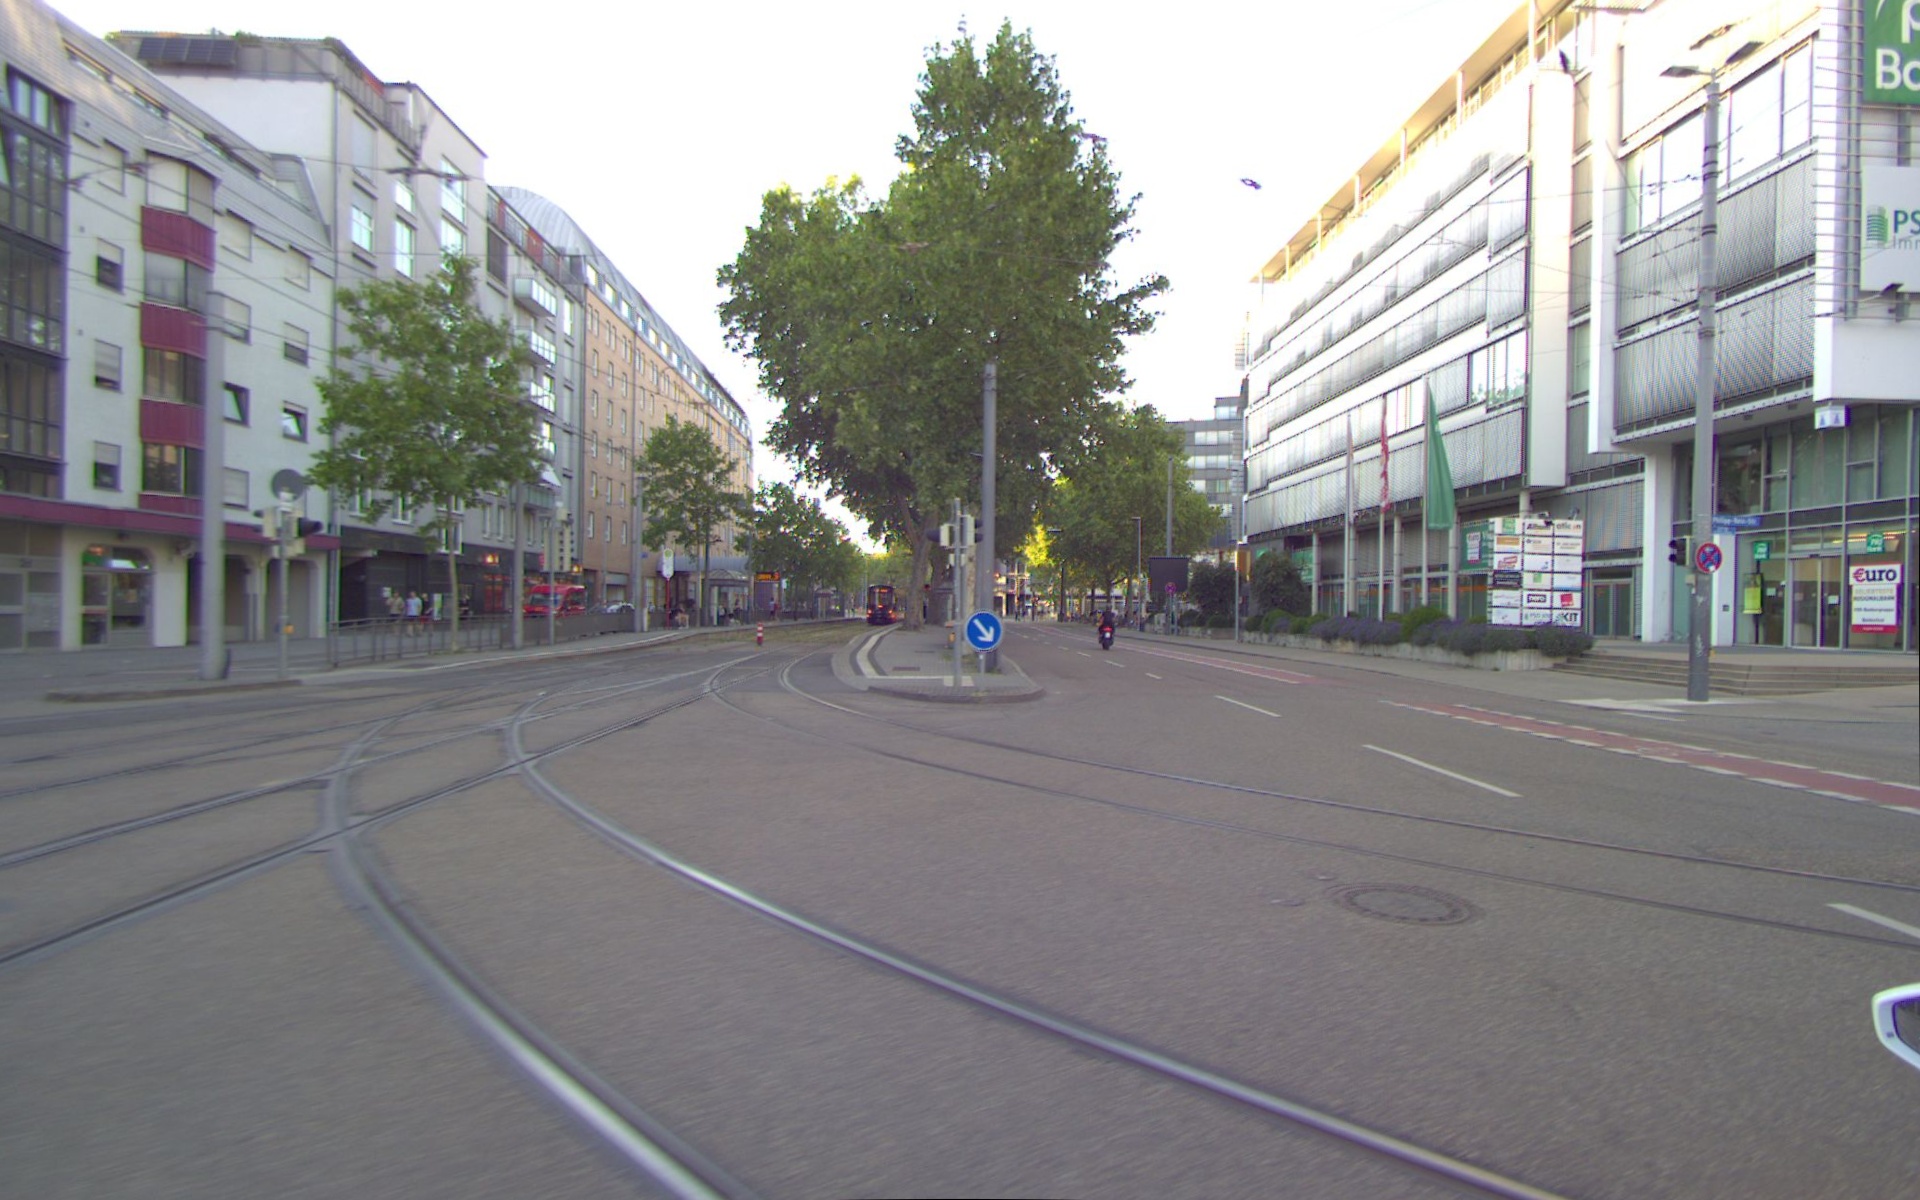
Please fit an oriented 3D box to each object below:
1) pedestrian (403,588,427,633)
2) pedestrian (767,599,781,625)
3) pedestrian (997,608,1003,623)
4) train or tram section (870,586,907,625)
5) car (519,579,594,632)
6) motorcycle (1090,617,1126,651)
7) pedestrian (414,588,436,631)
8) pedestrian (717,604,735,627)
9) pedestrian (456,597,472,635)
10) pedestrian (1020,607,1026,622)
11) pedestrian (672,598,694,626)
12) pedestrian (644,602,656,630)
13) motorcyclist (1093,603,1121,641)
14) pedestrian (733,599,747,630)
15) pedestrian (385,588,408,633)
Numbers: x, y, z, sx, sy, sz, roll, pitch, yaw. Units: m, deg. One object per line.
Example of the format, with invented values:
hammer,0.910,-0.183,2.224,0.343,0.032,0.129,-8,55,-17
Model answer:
pedestrian,-22.130,0.410,40.787,0.642,1.799,0.547,1,0,-5
pedestrian,-12.269,0.818,66.380,0.744,1.701,0.833,1,0,-1
pedestrian,5.472,2.147,138.103,0.801,2.040,0.924,1,0,1
train or tram section,-6.284,0.519,89.768,2.996,3.212,13.484,1,0,-4
car,-20.993,0.281,52.474,2.054,2.585,5.445,1,-1,-4
motorcycle,5.814,1.306,39.543,0.815,1.256,2.489,1,0,-6
pedestrian,-22.364,0.396,41.982,0.642,1.799,0.547,1,0,-5
pedestrian,-13.612,0.915,58.506,0.764,1.310,0.733,1,0,17
pedestrian,-23.901,0.770,48.421,0.539,1.799,0.653,1,0,-13
pedestrian,8.770,2.068,139.721,0.801,2.040,0.924,1,0,1
pedestrian,-13.299,0.589,48.235,0.764,1.310,0.733,1,0,18
pedestrian,-19.626,1.009,63.629,0.642,1.799,0.547,1,0,-5
motorcyclist,5.788,0.857,39.507,0.815,1.493,1.206,1,0,-6
pedestrian,-14.043,0.924,64.075,0.764,1.951,0.733,1,0,-2
pedestrian,-23.066,0.423,41.142,0.642,1.799,0.547,1,0,-5
